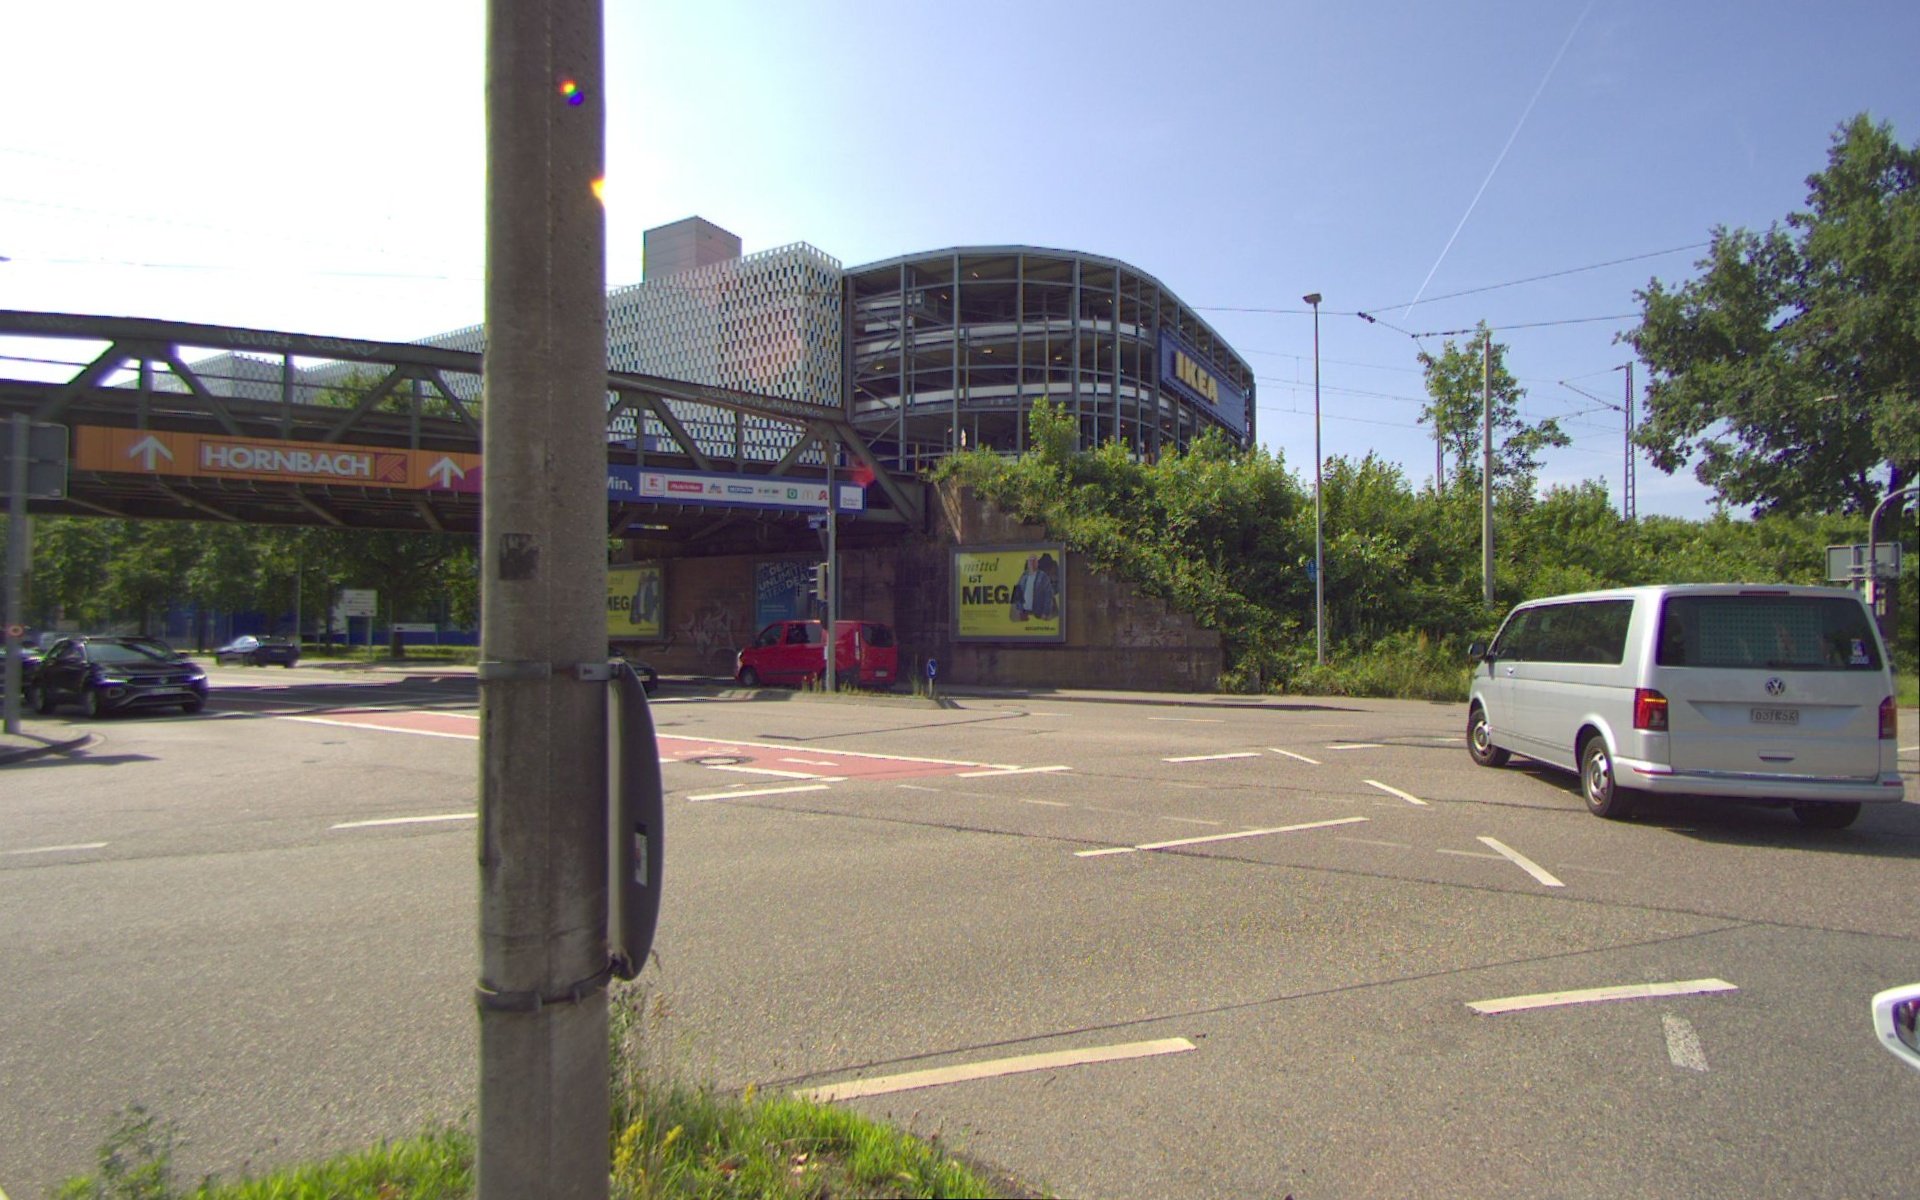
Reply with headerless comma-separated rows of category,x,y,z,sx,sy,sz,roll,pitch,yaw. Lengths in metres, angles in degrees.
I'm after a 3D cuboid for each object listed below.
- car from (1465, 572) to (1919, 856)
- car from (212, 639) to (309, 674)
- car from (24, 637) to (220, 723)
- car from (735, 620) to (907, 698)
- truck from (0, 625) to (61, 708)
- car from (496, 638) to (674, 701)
car,6.564,0.878,9.718,1.908,1.997,5.025,0,-2,14
car,-30.688,2.447,44.043,4.247,1.415,1.789,-1,-3,29
car,-16.893,1.535,20.223,3.873,1.500,1.819,-1,0,30
car,-3.819,1.554,27.348,4.483,1.950,1.969,-1,-3,34
truck,-24.029,1.554,24.207,5.231,1.844,2.028,-1,0,30
car,-9.186,1.648,24.549,4.257,1.413,1.769,-1,-3,30
